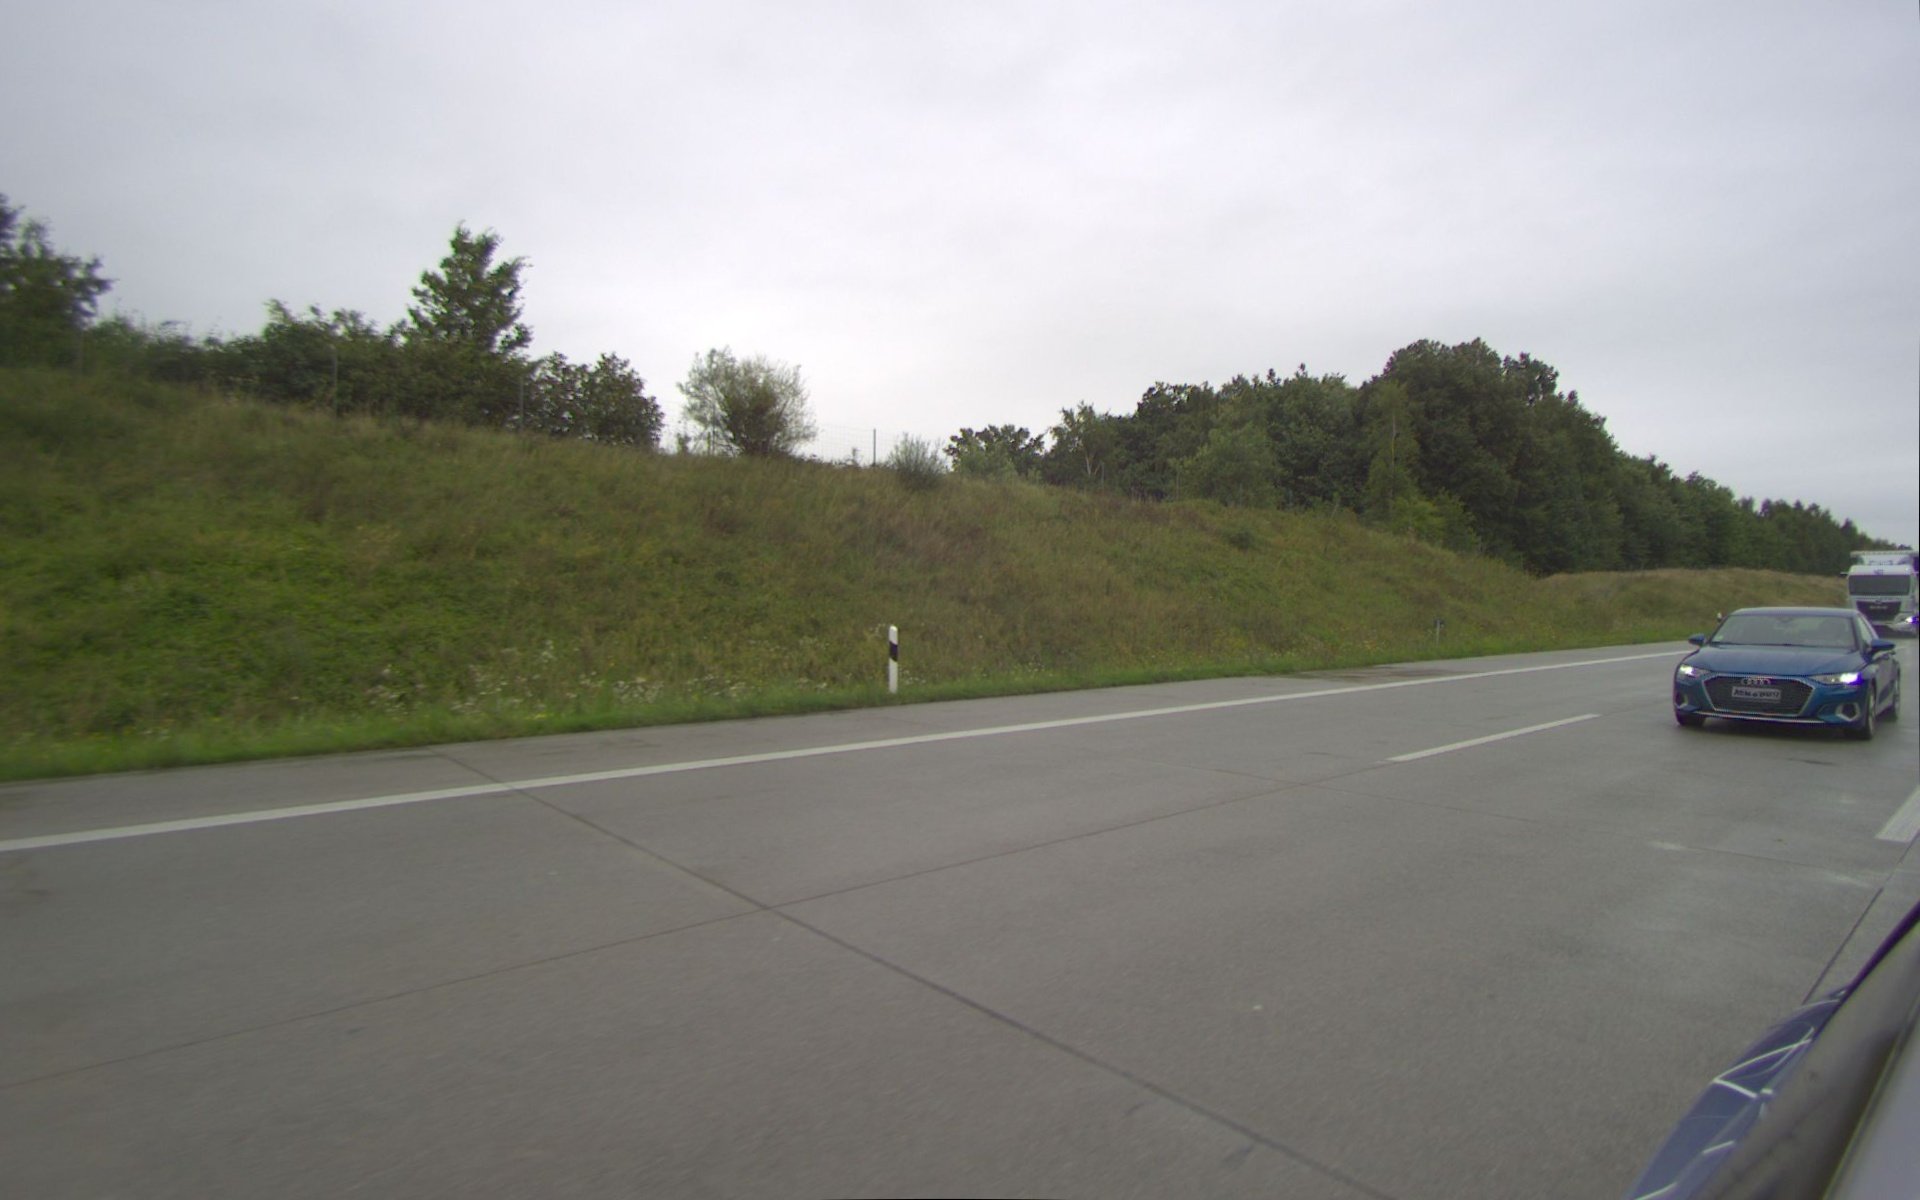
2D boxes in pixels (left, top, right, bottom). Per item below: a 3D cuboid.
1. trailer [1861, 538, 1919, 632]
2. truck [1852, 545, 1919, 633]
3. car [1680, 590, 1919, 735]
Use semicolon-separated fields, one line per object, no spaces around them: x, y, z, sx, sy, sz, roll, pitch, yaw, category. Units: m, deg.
50.613;-0.608;53.369;14.936;4.436;2.711;1;-2;-41;trailer
44.983;-0.465;48.457;5.585;4.005;2.641;1;-2;-41;truck
10.700;0.640;12.654;4.590;1.477;1.732;0;1;-41;car
